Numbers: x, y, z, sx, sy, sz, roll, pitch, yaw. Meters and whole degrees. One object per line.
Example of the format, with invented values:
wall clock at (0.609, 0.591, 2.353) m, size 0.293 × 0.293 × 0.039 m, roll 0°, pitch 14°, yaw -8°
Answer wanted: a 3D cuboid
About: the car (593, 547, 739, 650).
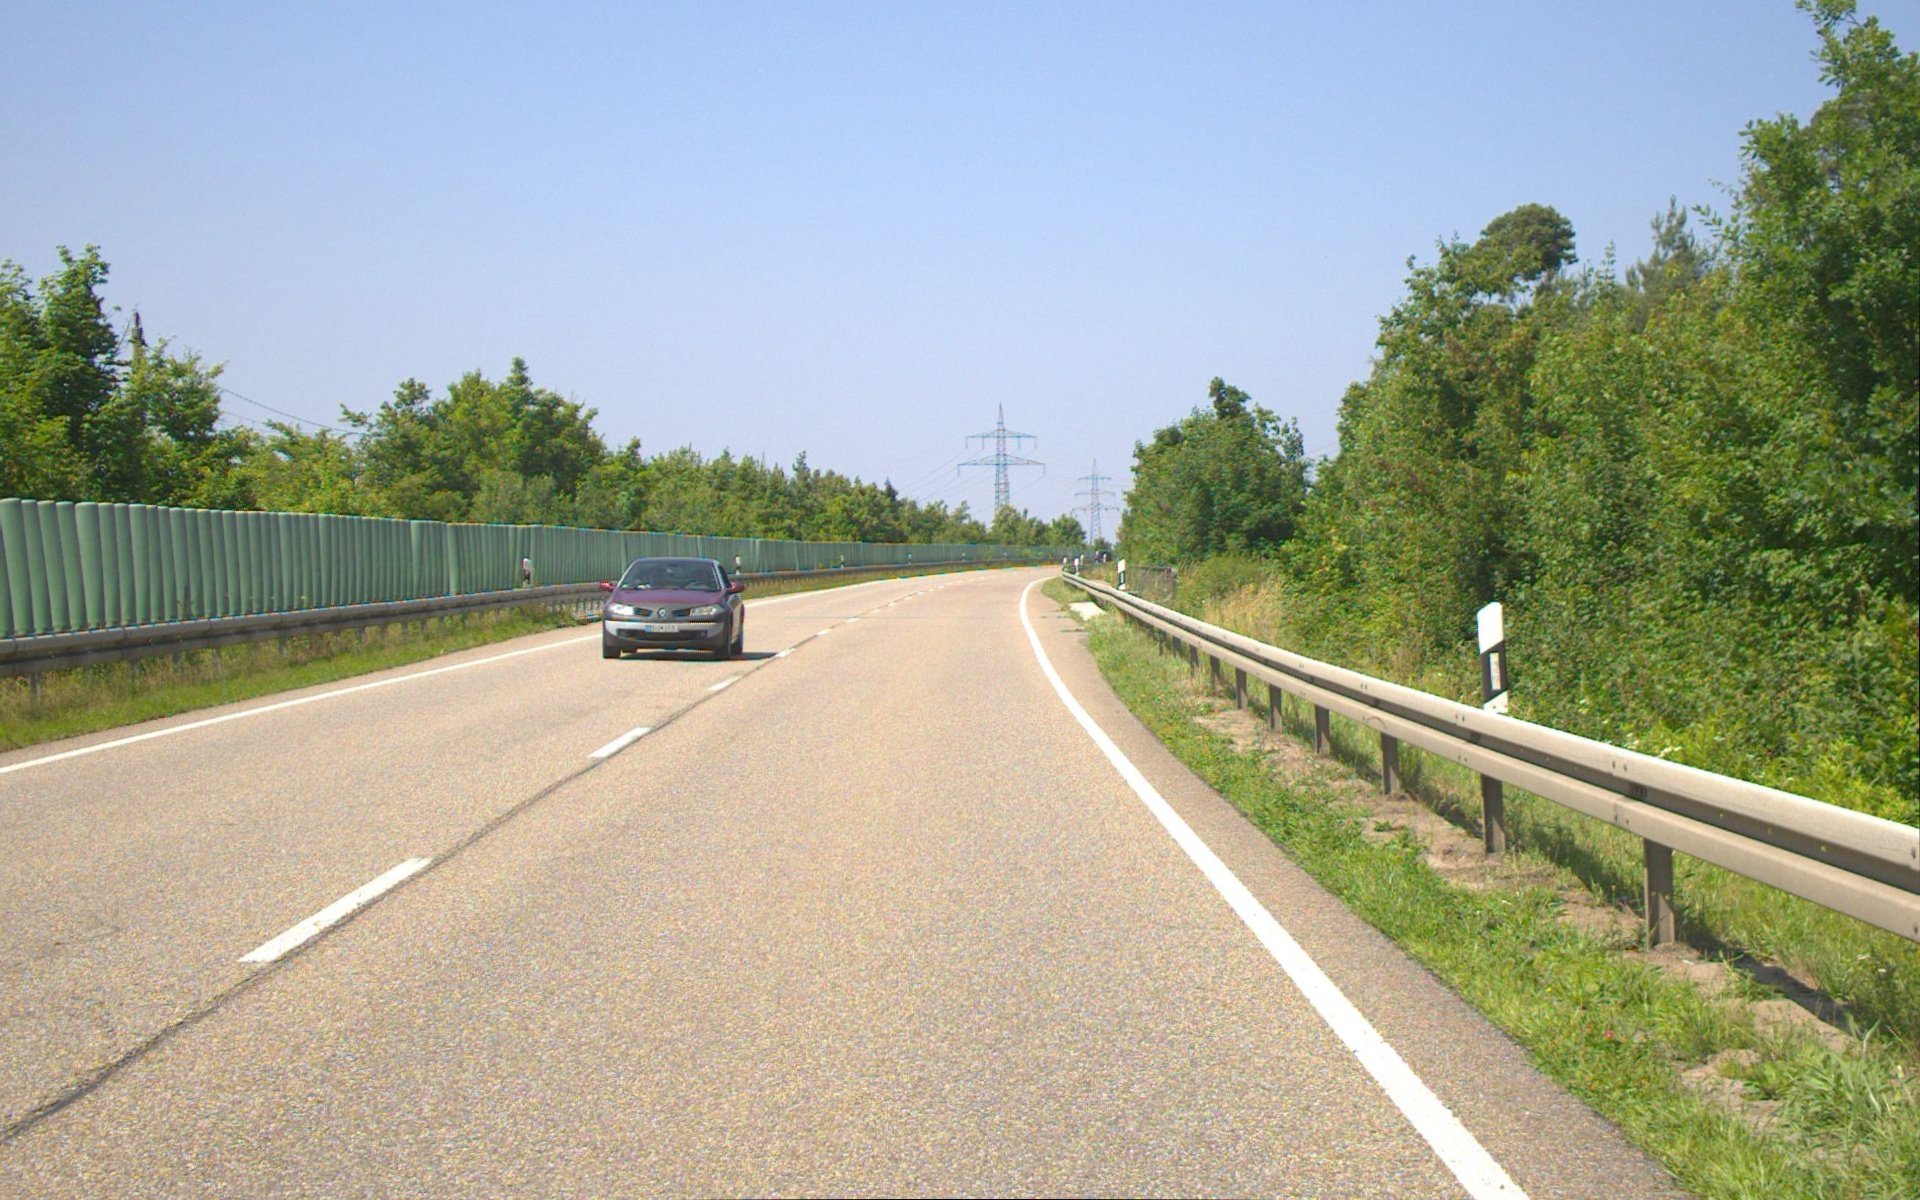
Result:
car at (-4.073, -0.050, 48.064) m, size 1.786 × 1.367 × 3.897 m, roll 0°, pitch 1°, yaw -1°
